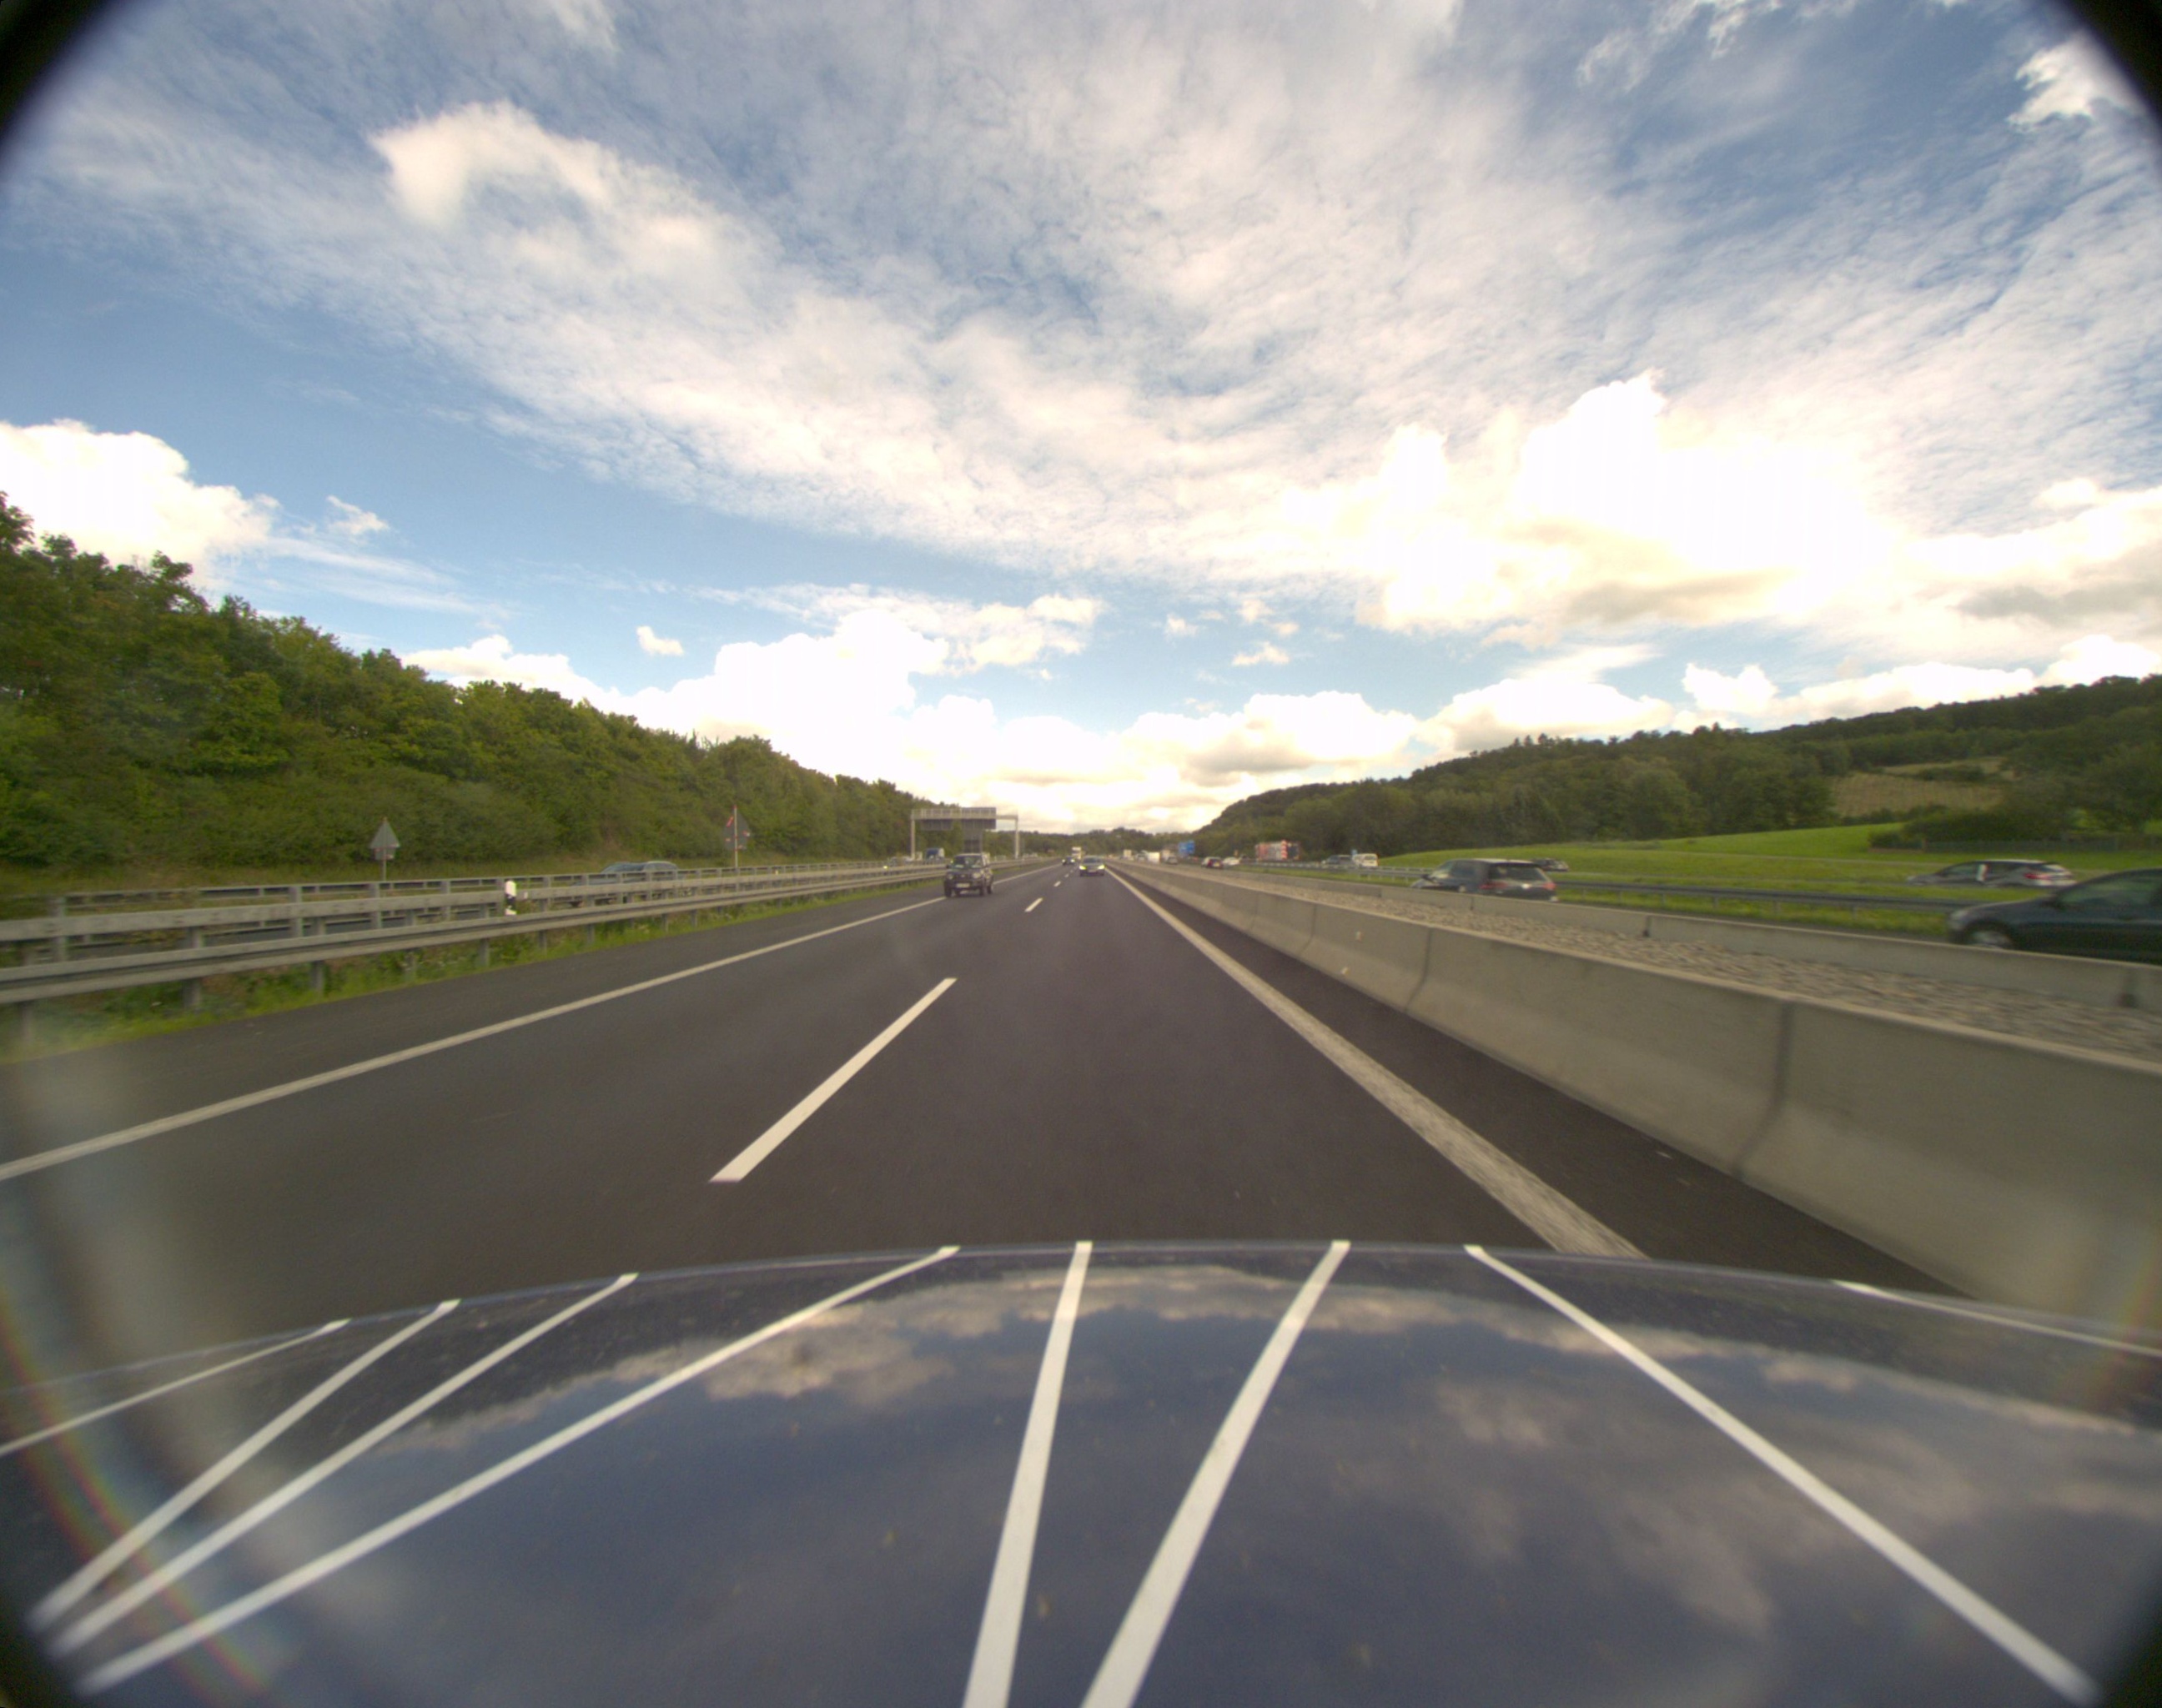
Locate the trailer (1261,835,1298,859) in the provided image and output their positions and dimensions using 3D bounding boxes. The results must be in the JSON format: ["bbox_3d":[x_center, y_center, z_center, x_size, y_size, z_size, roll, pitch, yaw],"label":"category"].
[{"bbox_3d":[32.852,-1.190,126.462,1.999,3.715,13.239,1,1,-3],"label":"trailer"}]

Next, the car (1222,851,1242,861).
[{"bbox_3d":[22.698,0.290,114.355,1.778,1.392,4.395,1,1,-7],"label":"car"}]

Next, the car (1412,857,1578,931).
[{"bbox_3d":[8.923,0.795,16.754,1.646,1.390,3.741,1,1,1],"label":"car"}]

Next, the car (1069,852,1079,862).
[{"bbox_3d":[-1.355,0.542,157.039,1.998,2.002,4.000,1,1,1],"label":"car"}]

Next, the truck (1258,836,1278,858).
[{"bbox_3d":[32.528,-1.218,132.347,1.999,3.740,5.147,1,1,-4],"label":"truck"}]

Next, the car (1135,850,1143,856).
[{"bbox_3d":[14.766,-0.271,193.872,1.805,1.608,4.301,1,1,1],"label":"car"}]

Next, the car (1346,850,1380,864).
[{"bbox_3d":[32.480,0.286,87.763,1.777,1.539,4.887,1,1,-4],"label":"car"}]

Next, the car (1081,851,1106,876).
[{"bbox_3d":[0.931,0.657,54.984,1.724,1.722,3.939,0,1,2],"label":"car"}]

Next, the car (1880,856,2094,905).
[{"bbox_3d":[32.701,0.896,27.708,1.777,1.539,4.887,1,1,-4],"label":"car"}]

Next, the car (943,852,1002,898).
[{"bbox_3d":[-4.434,0.803,31.539,1.670,1.722,4.207,0,1,2],"label":"car"}]

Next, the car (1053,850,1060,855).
[{"bbox_3d":[-7.489,-0.416,232.026,1.998,1.608,5.003,1,1,2],"label":"car"}]

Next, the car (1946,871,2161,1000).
[{"bbox_3d":[13.099,0.968,8.666,1.732,1.390,4.158,1,1,1],"label":"car"}]

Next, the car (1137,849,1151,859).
[{"bbox_3d":[10.633,-0.006,127.876,1.998,1.523,5.021,1,1,1],"label":"car"}]

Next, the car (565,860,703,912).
[{"bbox_3d":[-14.592,0.977,25.151,1.998,1.476,4.310,-1,1,0],"label":"car"}]

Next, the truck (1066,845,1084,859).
[{"bbox_3d":[-1.716,-0.613,233.222,4.947,4.306,14.630,1,1,2],"label":"truck"}]

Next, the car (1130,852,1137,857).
[{"bbox_3d":[16.160,0.107,233.818,1.998,1.608,5.002,1,1,1],"label":"car"}]

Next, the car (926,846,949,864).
[{"bbox_3d":[-18.200,0.076,96.709,1.998,2.173,5.127,-1,1,0],"label":"car"}]

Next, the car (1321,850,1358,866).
[{"bbox_3d":[26.769,0.371,78.795,1.777,1.539,4.887,1,1,-4],"label":"car"}]

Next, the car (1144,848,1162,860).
[{"bbox_3d":[10.131,-0.027,106.977,1.998,1.523,5.747,1,1,1],"label":"car"}]

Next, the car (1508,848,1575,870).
[{"bbox_3d":[34.569,0.331,57.191,1.777,1.539,4.887,1,1,-4],"label":"car"}]

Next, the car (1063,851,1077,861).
[{"bbox_3d":[-1.810,0.262,126.119,1.998,1.591,4.000,1,1,2],"label":"car"}]

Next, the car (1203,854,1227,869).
[{"bbox_3d":[13.869,0.779,79.037,1.758,1.394,4.691,1,1,1],"label":"car"}]

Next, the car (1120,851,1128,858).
[{"bbox_3d":[10.931,0.177,194.252,1.932,1.608,5.418,1,1,1],"label":"car"}]

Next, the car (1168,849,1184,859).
[{"bbox_3d":[15.206,0.024,121.514,1.998,1.523,4.507,1,1,1],"label":"car"}]
